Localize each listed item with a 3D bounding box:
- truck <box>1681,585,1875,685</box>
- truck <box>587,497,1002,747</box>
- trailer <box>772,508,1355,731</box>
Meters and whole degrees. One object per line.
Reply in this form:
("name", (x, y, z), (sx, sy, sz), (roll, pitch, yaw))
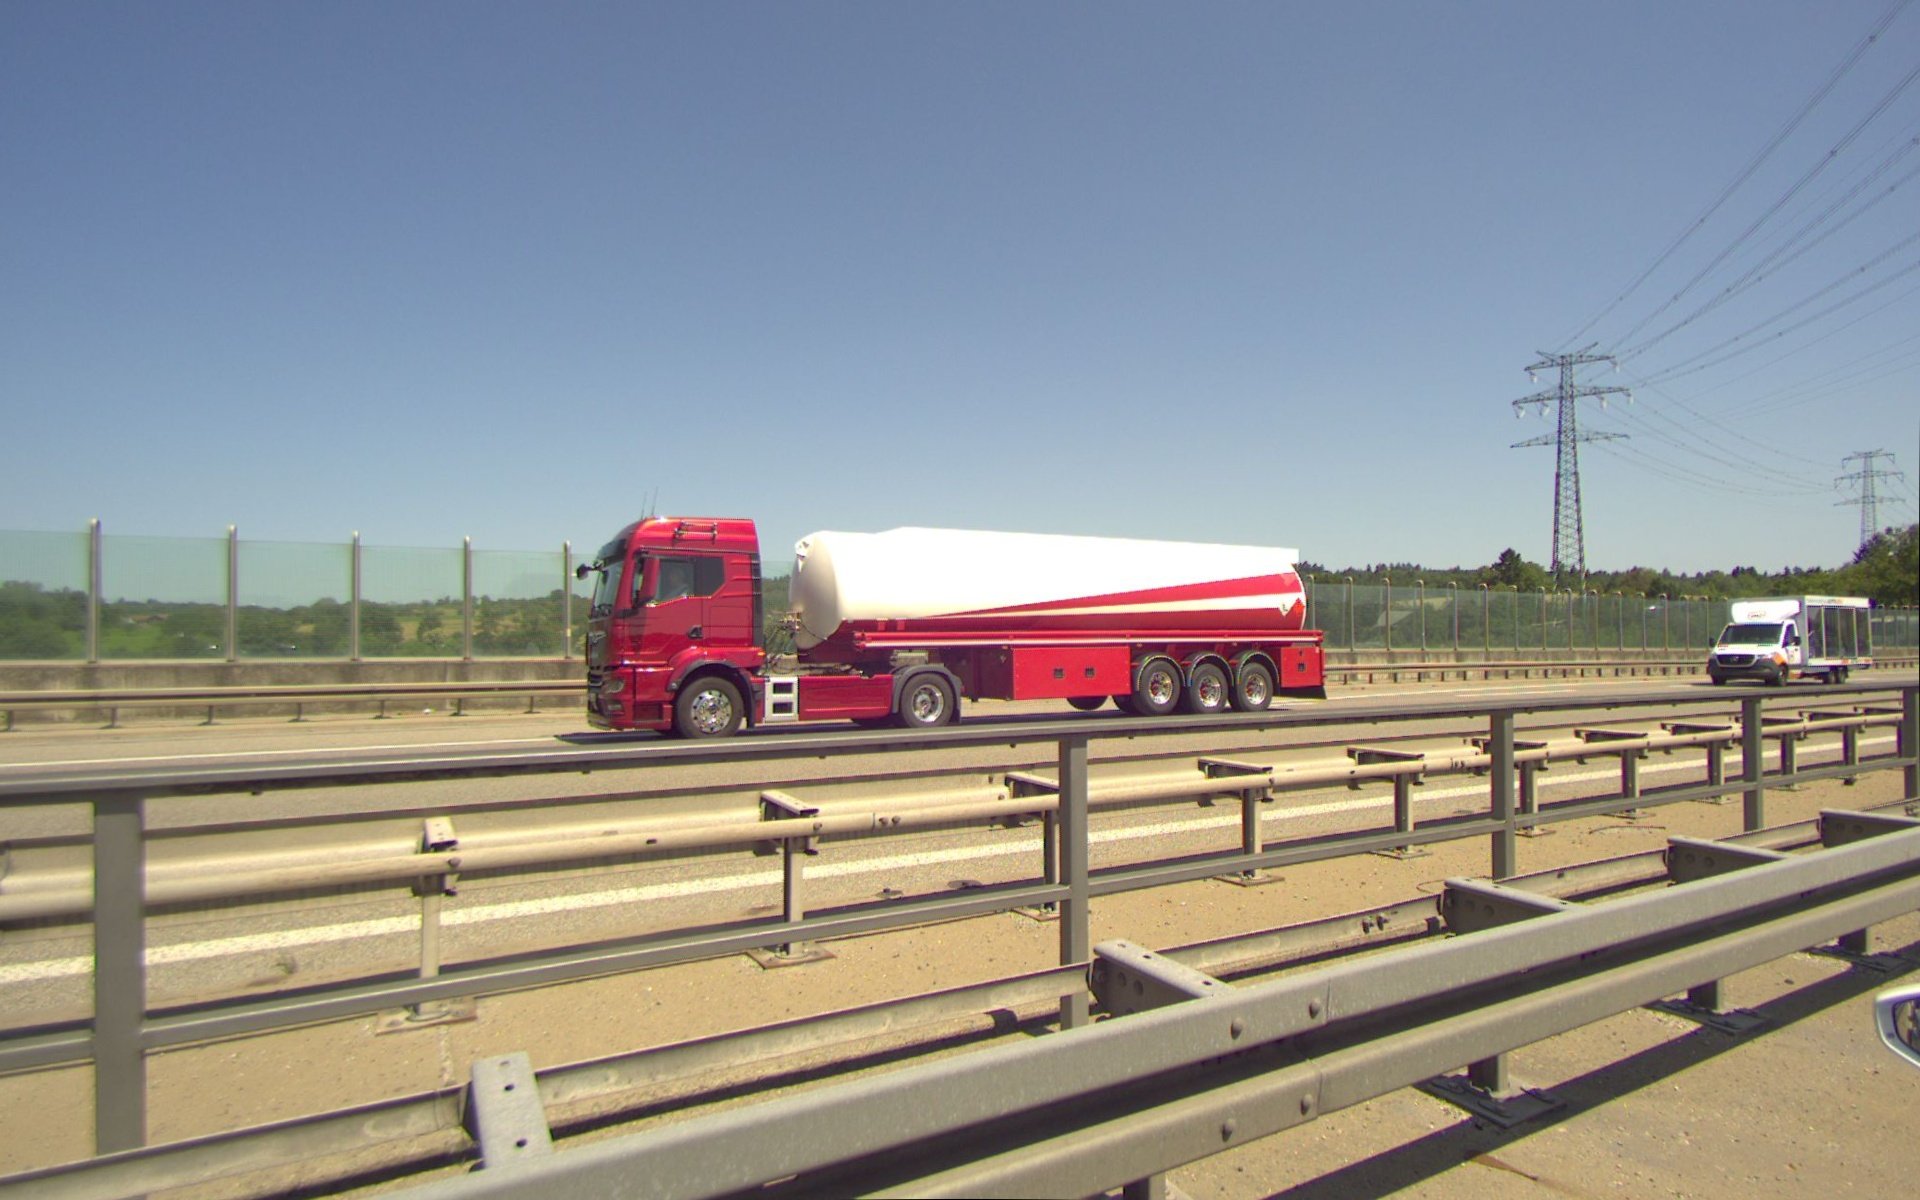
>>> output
("truck", (29.308, 1.339, 35.879), (8.196, 3.229, 2.552), (2, -4, -30))
("truck", (-2.690, 0.450, 16.707), (6.218, 3.459, 2.897), (2, -3, -29))
("trailer", (2.500, 0.547, 19.637), (11.861, 3.422, 2.865), (2, -4, -29))
